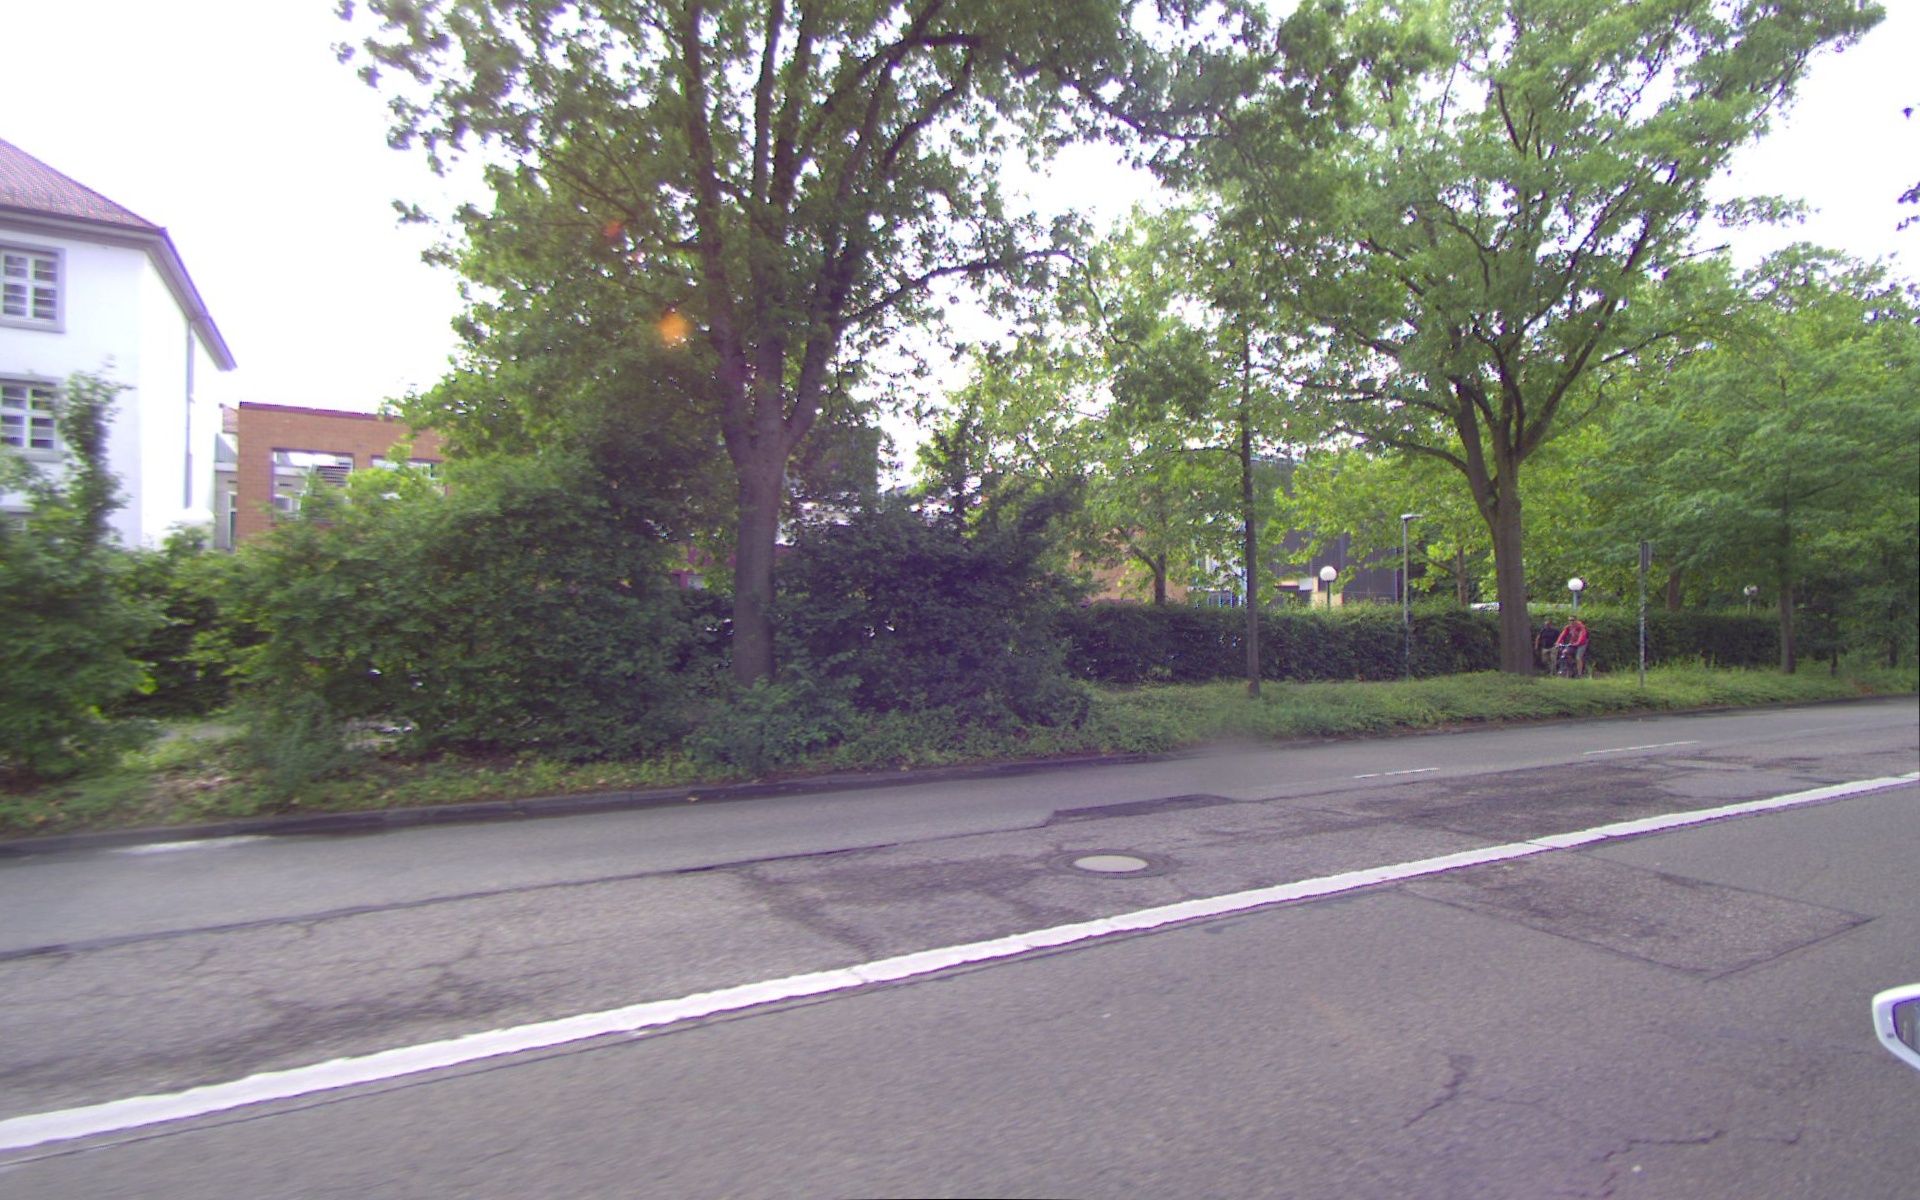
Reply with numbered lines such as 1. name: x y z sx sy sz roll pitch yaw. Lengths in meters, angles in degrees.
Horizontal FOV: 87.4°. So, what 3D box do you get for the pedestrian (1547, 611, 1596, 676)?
1. pedestrian: 15.929 1.113 26.167 0.838 1.635 0.788 1 0 -30
